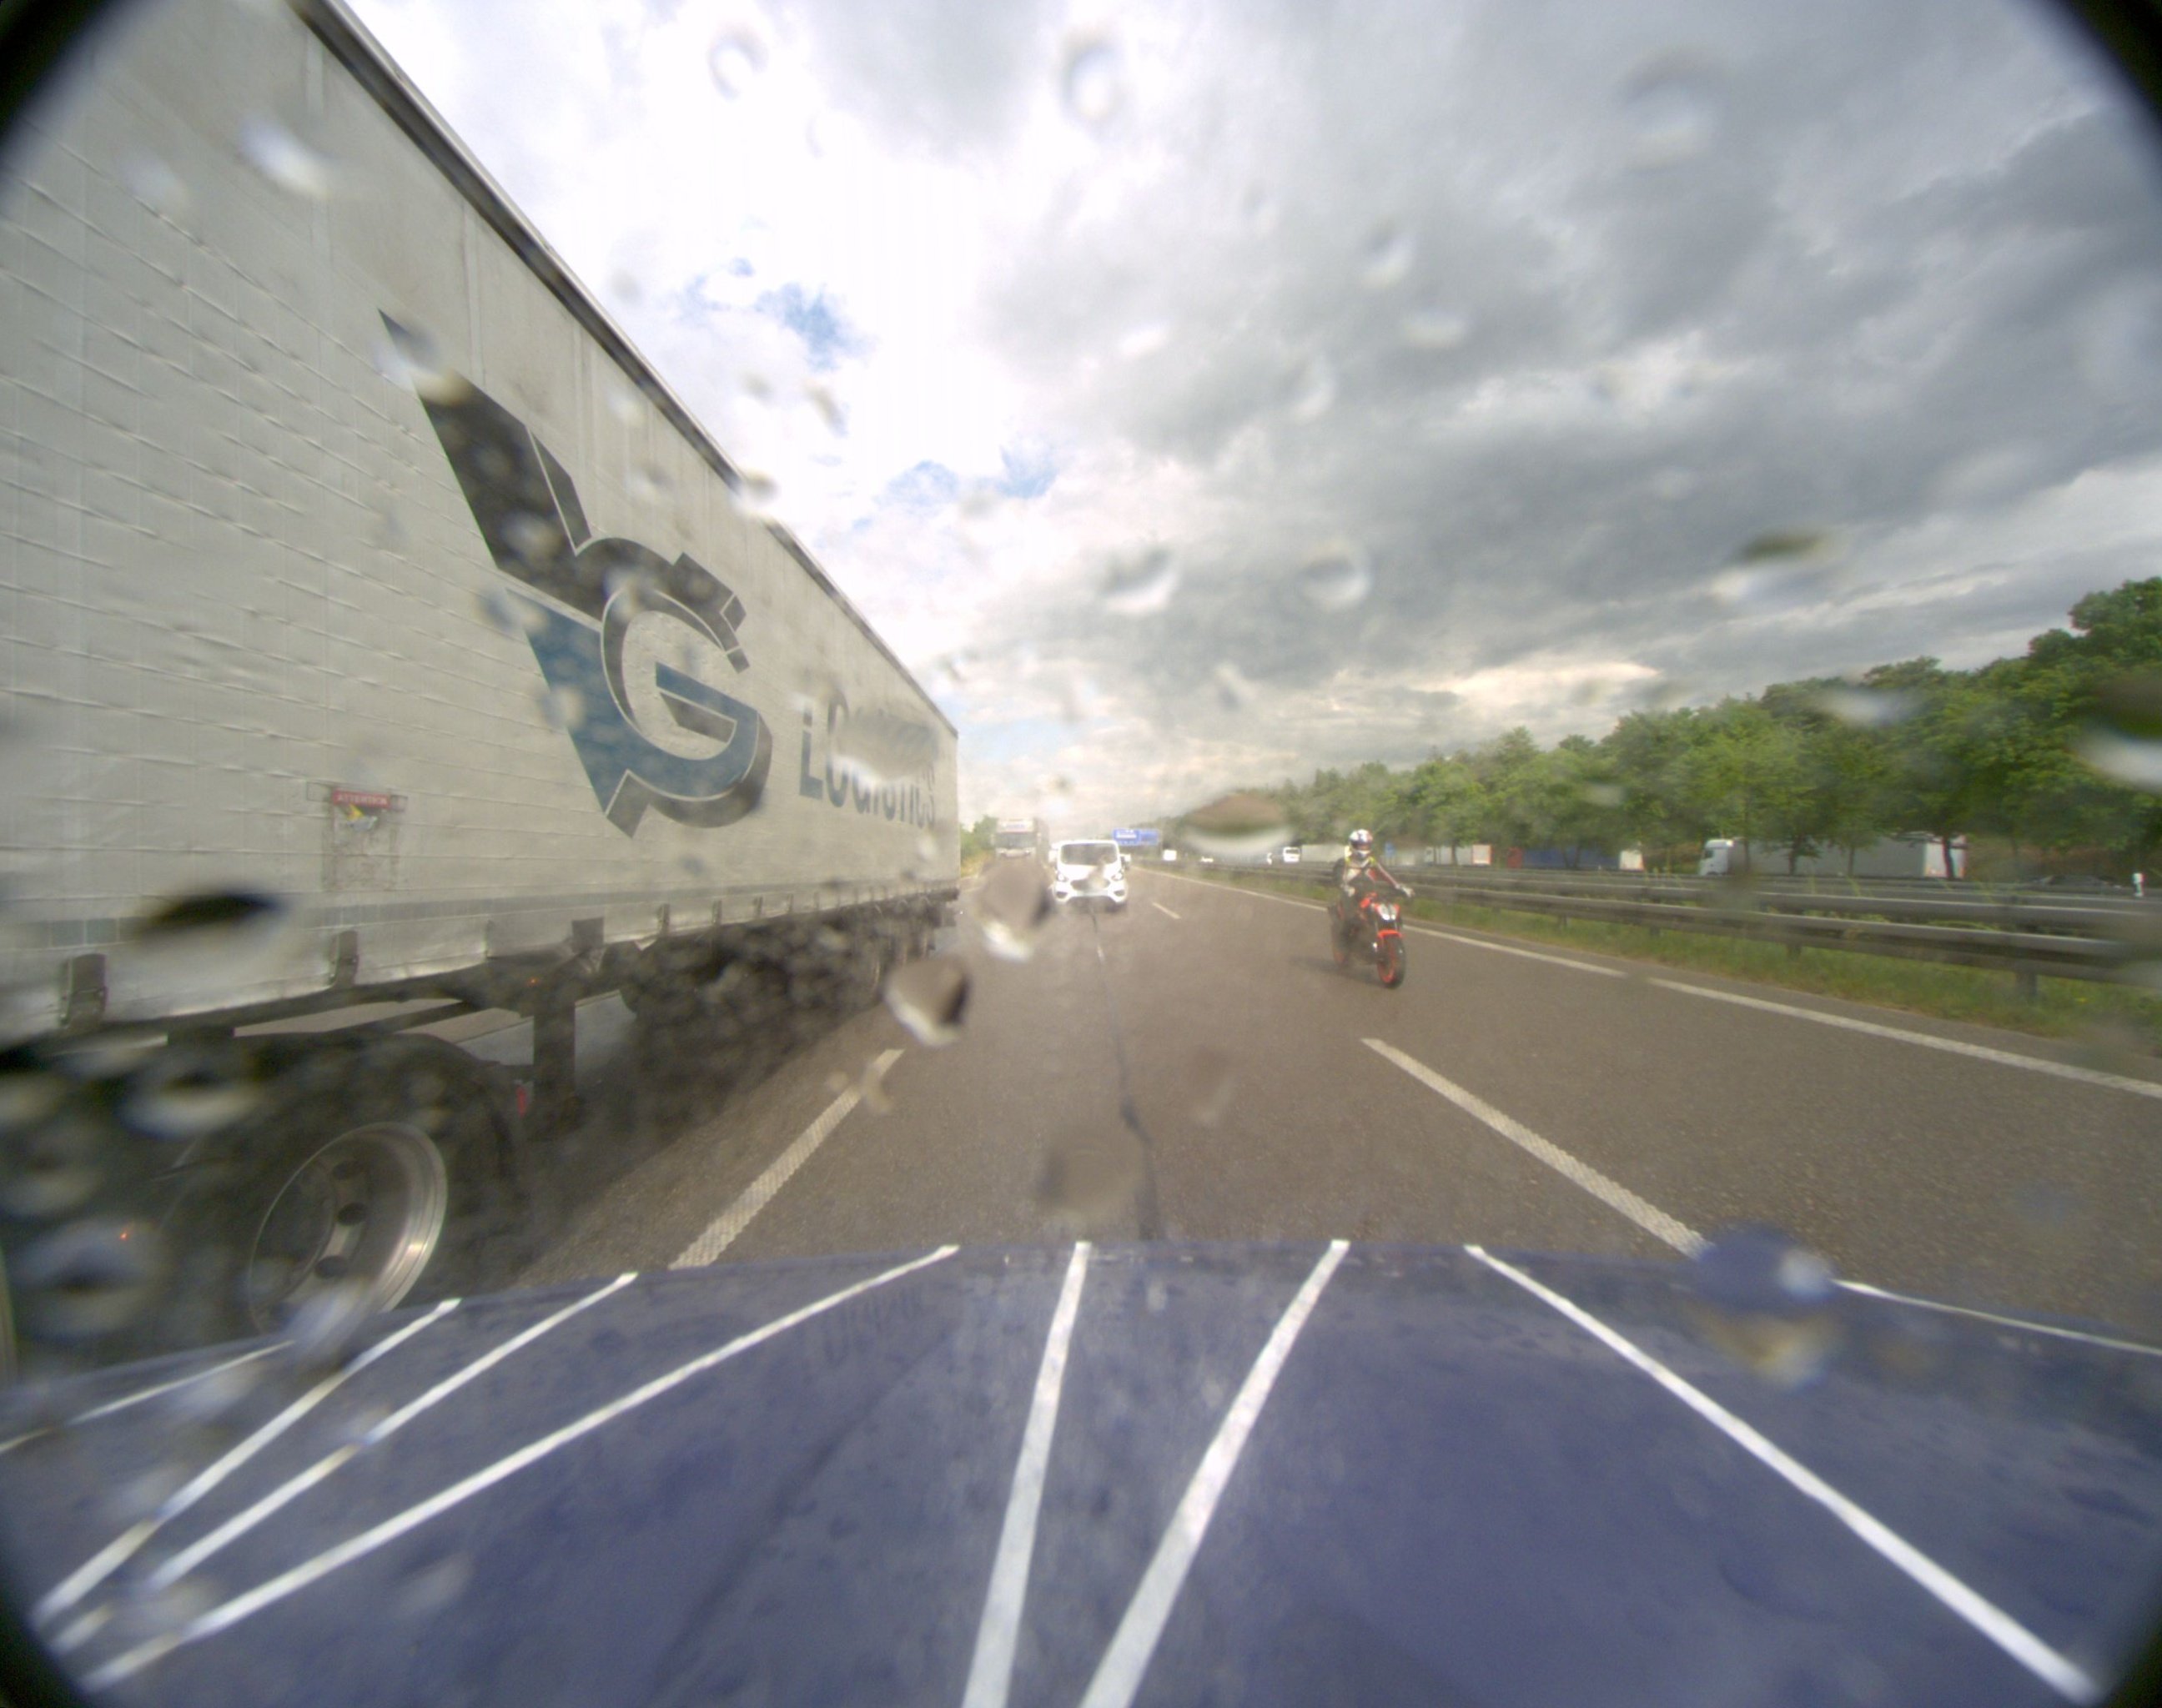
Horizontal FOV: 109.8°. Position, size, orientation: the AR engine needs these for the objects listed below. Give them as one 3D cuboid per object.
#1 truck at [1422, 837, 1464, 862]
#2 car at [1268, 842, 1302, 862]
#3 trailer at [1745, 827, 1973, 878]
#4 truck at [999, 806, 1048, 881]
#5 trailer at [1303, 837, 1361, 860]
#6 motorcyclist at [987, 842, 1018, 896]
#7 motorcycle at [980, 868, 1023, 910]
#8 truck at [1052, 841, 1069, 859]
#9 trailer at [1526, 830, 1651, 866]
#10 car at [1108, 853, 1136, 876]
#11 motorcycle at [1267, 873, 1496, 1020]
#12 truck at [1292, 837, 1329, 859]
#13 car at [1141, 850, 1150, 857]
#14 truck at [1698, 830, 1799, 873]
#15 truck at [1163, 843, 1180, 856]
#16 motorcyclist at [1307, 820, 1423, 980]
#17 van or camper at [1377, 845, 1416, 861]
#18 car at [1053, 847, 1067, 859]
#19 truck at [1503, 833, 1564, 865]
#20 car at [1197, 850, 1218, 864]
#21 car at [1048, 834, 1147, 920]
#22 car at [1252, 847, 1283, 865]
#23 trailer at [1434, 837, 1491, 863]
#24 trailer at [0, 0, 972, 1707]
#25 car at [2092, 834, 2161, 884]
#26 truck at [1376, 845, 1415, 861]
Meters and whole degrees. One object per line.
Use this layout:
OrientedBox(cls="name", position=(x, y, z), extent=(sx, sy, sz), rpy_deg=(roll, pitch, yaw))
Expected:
OrientedBox(cls="truck", position=(49.036, -0.571, 103.056), extent=(2.663, 3.249, 5.081), rpy_deg=(-2, 1, -11))
OrientedBox(cls="car", position=(21.066, -0.252, 78.587), extent=(2.052, 1.880, 5.258), rpy_deg=(-2, 1, 0))
OrientedBox(cls="trailer", position=(55.260, -0.132, 54.875), extent=(3.356, 3.198, 12.471), rpy_deg=(-1, 0, -2))
OrientedBox(cls="truck", position=(-3.522, -0.673, 47.343), extent=(2.650, 4.250, 6.882), rpy_deg=(-2, 1, -3))
OrientedBox(cls="trailer", position=(42.734, -0.983, 130.084), extent=(3.216, 3.717, 12.553), rpy_deg=(-1, 0, -14))
OrientedBox(cls="motorcyclist", position=(-2.544, 0.472, 24.851), extent=(0.883, 1.696, 1.000), rpy_deg=(-2, 1, -2))
OrientedBox(cls="motorcycle", position=(-2.550, 1.090, 24.795), extent=(1.188, 1.142, 3.193), rpy_deg=(-2, 1, -3))
OrientedBox(cls="truck", position=(-4.191, -0.877, 158.576), extent=(3.218, 3.607, 10.152), rpy_deg=(-2, 1, 0))
OrientedBox(cls="trailer", position=(52.705, -0.597, 79.740), extent=(2.832, 3.385, 13.416), rpy_deg=(-1, 0, -7))
OrientedBox(cls="car", position=(3.985, 1.032, 74.505), extent=(2.350, 2.033, 5.142), rpy_deg=(-2, 1, 0))
OrientedBox(cls="motorcycle", position=(3.205, 0.903, 8.698), extent=(1.188, 1.219, 3.193), rpy_deg=(-2, 1, -3))
OrientedBox(cls="truck", position=(41.094, -1.027, 136.458), extent=(3.219, 3.683, 6.907), rpy_deg=(-2, 1, -14))
OrientedBox(cls="car", position=(18.919, -0.108, 223.868), extent=(2.306, 1.880, 4.778), rpy_deg=(-2, 1, 0))
OrientedBox(cls="truck", position=(54.931, -0.232, 62.724), extent=(3.362, 3.254, 5.504), rpy_deg=(-2, 1, -4))
OrientedBox(cls="truck", position=(20.648, -1.041, 173.624), extent=(2.849, 2.666, 7.190), rpy_deg=(-2, 1, 1))
OrientedBox(cls="motorcyclist", position=(3.200, 0.489, 8.665), extent=(0.883, 1.696, 1.000), rpy_deg=(-2, 1, -2))
OrientedBox(cls="van or camper", position=(47.183, -0.149, 113.895), extent=(2.126, 2.252, 6.316), rpy_deg=(-2, 1, -13))
OrientedBox(cls="car", position=(-3.702, -0.144, 137.543), extent=(2.350, 2.033, 5.142), rpy_deg=(-2, 1, 0))
OrientedBox(cls="truck", position=(51.802, -0.621, 87.160), extent=(2.869, 3.437, 5.892), rpy_deg=(-2, 1, -7))
OrientedBox(cls="car", position=(18.223, 0.445, 109.442), extent=(2.052, 1.880, 5.258), rpy_deg=(-2, 1, 0))
OrientedBox(cls="car", position=(0.391, 0.524, 21.033), extent=(2.350, 2.033, 5.142), rpy_deg=(-2, 1, 0))
OrientedBox(cls="car", position=(20.788, 0.234, 84.804), extent=(2.052, 1.880, 5.258), rpy_deg=(-2, 1, 0))
OrientedBox(cls="trailer", position=(49.779, -0.560, 99.321), extent=(2.588, 3.214, 7.733), rpy_deg=(-1, 1, -10))
OrientedBox(cls="trailer", position=(-3.630, -0.221, 6.745), extent=(3.292, 3.876, 14.126), rpy_deg=(-2, 0, -1))
OrientedBox(cls="car", position=(56.313, 0.272, 38.160), extent=(2.800, 2.468, 6.209), rpy_deg=(-2, 1, 1))
OrientedBox(cls="truck", position=(47.118, -0.149, 113.992), extent=(2.126, 2.252, 6.311), rpy_deg=(-2, 1, -13))
